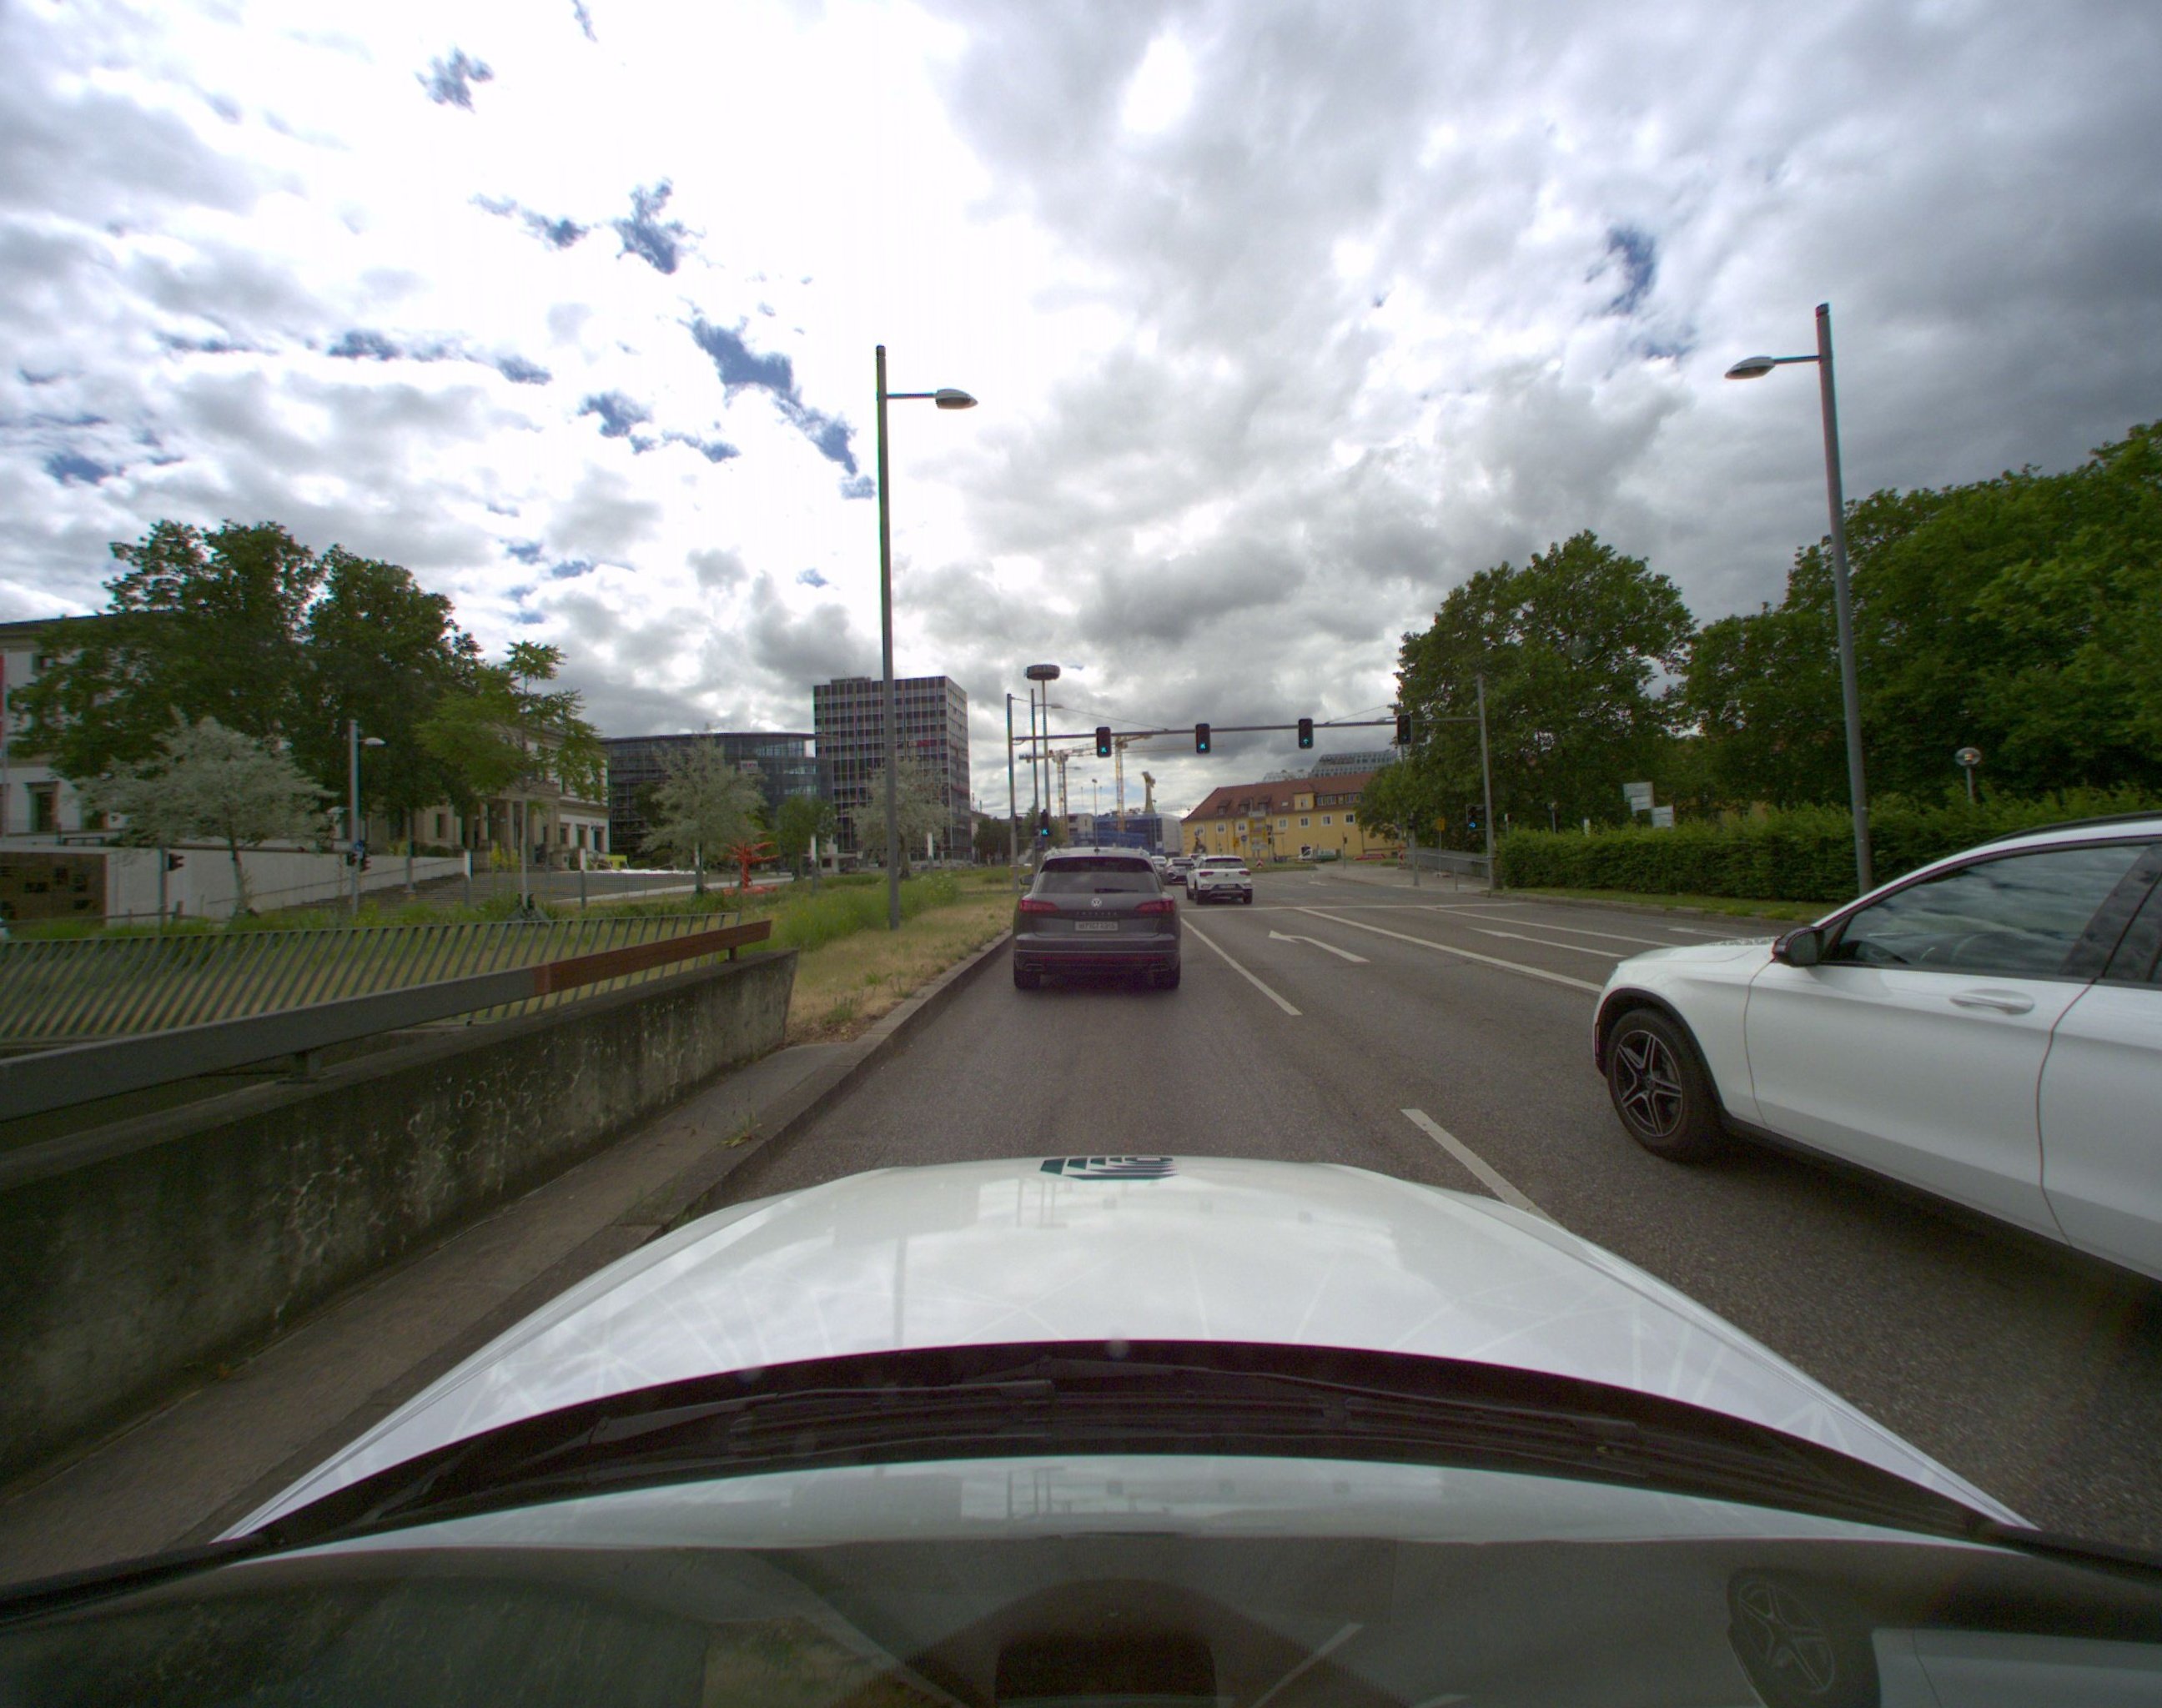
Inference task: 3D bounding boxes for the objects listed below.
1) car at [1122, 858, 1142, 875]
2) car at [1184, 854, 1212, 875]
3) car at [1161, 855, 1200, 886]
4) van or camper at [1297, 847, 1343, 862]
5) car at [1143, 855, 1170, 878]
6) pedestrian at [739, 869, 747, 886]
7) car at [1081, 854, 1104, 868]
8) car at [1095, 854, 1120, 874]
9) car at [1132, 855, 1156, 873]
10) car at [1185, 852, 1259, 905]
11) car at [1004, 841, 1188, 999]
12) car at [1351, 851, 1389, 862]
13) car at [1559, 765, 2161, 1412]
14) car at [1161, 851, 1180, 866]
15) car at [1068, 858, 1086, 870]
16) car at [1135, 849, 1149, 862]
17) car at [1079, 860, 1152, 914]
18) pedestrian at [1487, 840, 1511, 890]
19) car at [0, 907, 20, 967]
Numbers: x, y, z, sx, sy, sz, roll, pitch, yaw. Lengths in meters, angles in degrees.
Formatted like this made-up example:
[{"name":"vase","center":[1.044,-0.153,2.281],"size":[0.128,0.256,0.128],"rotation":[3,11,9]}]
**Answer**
[{"name":"car","center":[5.720,1.405,92.349],"size":[2.131,1.728,4.072],"rotation":[-2,-1,2]},{"name":"car","center":[9.116,0.818,63.907],"size":[1.795,1.502,3.984],"rotation":[-2,0,3]},{"name":"car","center":[5.194,0.841,42.919],"size":[1.711,1.502,4.147],"rotation":[-2,0,3]},{"name":"van or camper","center":[34.124,0.116,116.361],"size":[5.946,2.014,2.032],"rotation":[-2,-1,37]},{"name":"car","center":[5.278,0.858,56.649],"size":[1.710,1.502,3.988],"rotation":[-2,0,6]},{"name":"pedestrian","center":[-33.607,2.308,80.891],"size":[0.522,1.649,0.651],"rotation":[-1,-1,0]},{"name":"car","center":[1.247,0.758,92.037],"size":[2.240,1.502,4.606],"rotation":[-2,0,-3]},{"name":"car","center":[2.115,0.814,66.477],"size":[1.809,1.496,3.904],"rotation":[-2,0,-1]},{"name":"car","center":[5.597,0.890,72.733],"size":[1.808,1.496,3.905],"rotation":[-2,0,0]},{"name":"car","center":[4.579,0.758,26.903],"size":[1.886,1.585,3.803],"rotation":[-2,0,2]},{"name":"car","center":[0.232,0.701,10.724],"size":[1.925,1.647,4.002],"rotation":[-2,0,2]},{"name":"car","center":[39.801,0.319,112.243],"size":[4.632,1.420,1.607],"rotation":[-2,-1,34]},{"name":"car","center":[3.665,0.575,2.601],"size":[1.812,1.647,4.381],"rotation":[-2,0,2]},{"name":"car","center":[9.507,0.505,86.891],"size":[1.711,1.502,3.984],"rotation":[-2,0,3]},{"name":"car","center":[-0.562,1.311,104.014],"size":[1.718,1.502,3.968],"rotation":[-1,0,-9]},{"name":"car","center":[9.940,0.296,133.313],"size":[1.986,2.013,4.002],"rotation":[-2,0,2]},{"name":"car","center":[1.032,0.933,24.658],"size":[1.986,1.387,4.002],"rotation":[-2,0,2]},{"name":"pedestrian","center":[14.867,0.393,28.948],"size":[0.477,1.764,0.620],"rotation":[-1,-1,-1]},{"name":"car","center":[-30.021,2.292,19.994],"size":[1.711,1.574,4.616],"rotation":[-2,0,3]}]
